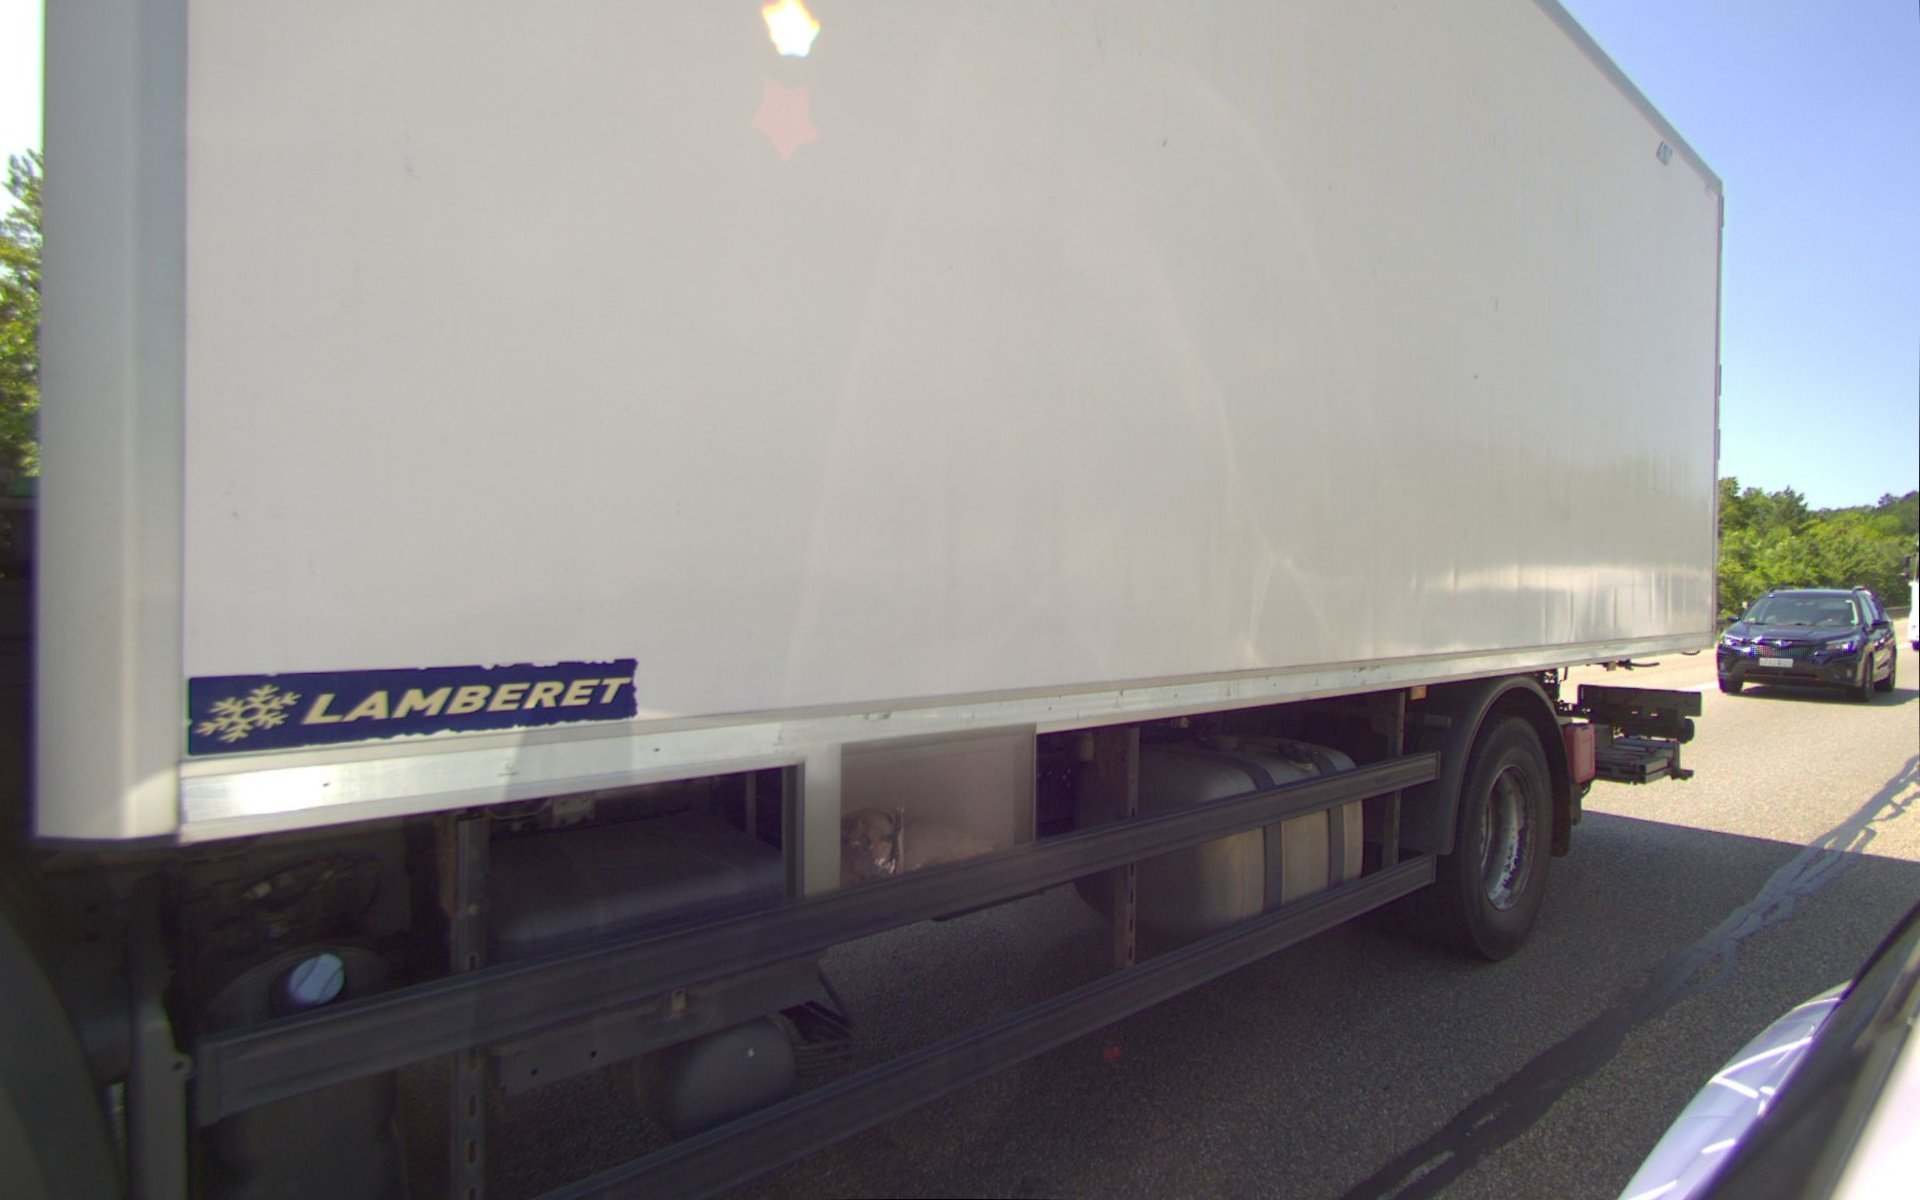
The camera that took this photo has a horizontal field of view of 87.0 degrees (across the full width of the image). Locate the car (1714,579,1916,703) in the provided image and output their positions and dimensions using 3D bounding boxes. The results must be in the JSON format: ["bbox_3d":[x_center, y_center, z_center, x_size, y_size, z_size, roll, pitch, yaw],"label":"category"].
[{"bbox_3d":[13.985,0.529,16.457,4.534,1.713,1.996,-1,2,-43],"label":"car"}]

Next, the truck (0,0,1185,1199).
[{"bbox_3d":[-1.832,-0.068,2.006,4.032,2.977,2.561,-1,1,-41],"label":"truck"}]

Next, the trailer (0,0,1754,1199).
[{"bbox_3d":[0.998,-0.112,4.460,7.744,2.936,2.560,0,0,-41],"label":"trailer"}]

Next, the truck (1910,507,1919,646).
[{"bbox_3d":[31.944,-0.729,31.420,7.205,4.135,2.765,-1,0,-40],"label":"truck"}]
